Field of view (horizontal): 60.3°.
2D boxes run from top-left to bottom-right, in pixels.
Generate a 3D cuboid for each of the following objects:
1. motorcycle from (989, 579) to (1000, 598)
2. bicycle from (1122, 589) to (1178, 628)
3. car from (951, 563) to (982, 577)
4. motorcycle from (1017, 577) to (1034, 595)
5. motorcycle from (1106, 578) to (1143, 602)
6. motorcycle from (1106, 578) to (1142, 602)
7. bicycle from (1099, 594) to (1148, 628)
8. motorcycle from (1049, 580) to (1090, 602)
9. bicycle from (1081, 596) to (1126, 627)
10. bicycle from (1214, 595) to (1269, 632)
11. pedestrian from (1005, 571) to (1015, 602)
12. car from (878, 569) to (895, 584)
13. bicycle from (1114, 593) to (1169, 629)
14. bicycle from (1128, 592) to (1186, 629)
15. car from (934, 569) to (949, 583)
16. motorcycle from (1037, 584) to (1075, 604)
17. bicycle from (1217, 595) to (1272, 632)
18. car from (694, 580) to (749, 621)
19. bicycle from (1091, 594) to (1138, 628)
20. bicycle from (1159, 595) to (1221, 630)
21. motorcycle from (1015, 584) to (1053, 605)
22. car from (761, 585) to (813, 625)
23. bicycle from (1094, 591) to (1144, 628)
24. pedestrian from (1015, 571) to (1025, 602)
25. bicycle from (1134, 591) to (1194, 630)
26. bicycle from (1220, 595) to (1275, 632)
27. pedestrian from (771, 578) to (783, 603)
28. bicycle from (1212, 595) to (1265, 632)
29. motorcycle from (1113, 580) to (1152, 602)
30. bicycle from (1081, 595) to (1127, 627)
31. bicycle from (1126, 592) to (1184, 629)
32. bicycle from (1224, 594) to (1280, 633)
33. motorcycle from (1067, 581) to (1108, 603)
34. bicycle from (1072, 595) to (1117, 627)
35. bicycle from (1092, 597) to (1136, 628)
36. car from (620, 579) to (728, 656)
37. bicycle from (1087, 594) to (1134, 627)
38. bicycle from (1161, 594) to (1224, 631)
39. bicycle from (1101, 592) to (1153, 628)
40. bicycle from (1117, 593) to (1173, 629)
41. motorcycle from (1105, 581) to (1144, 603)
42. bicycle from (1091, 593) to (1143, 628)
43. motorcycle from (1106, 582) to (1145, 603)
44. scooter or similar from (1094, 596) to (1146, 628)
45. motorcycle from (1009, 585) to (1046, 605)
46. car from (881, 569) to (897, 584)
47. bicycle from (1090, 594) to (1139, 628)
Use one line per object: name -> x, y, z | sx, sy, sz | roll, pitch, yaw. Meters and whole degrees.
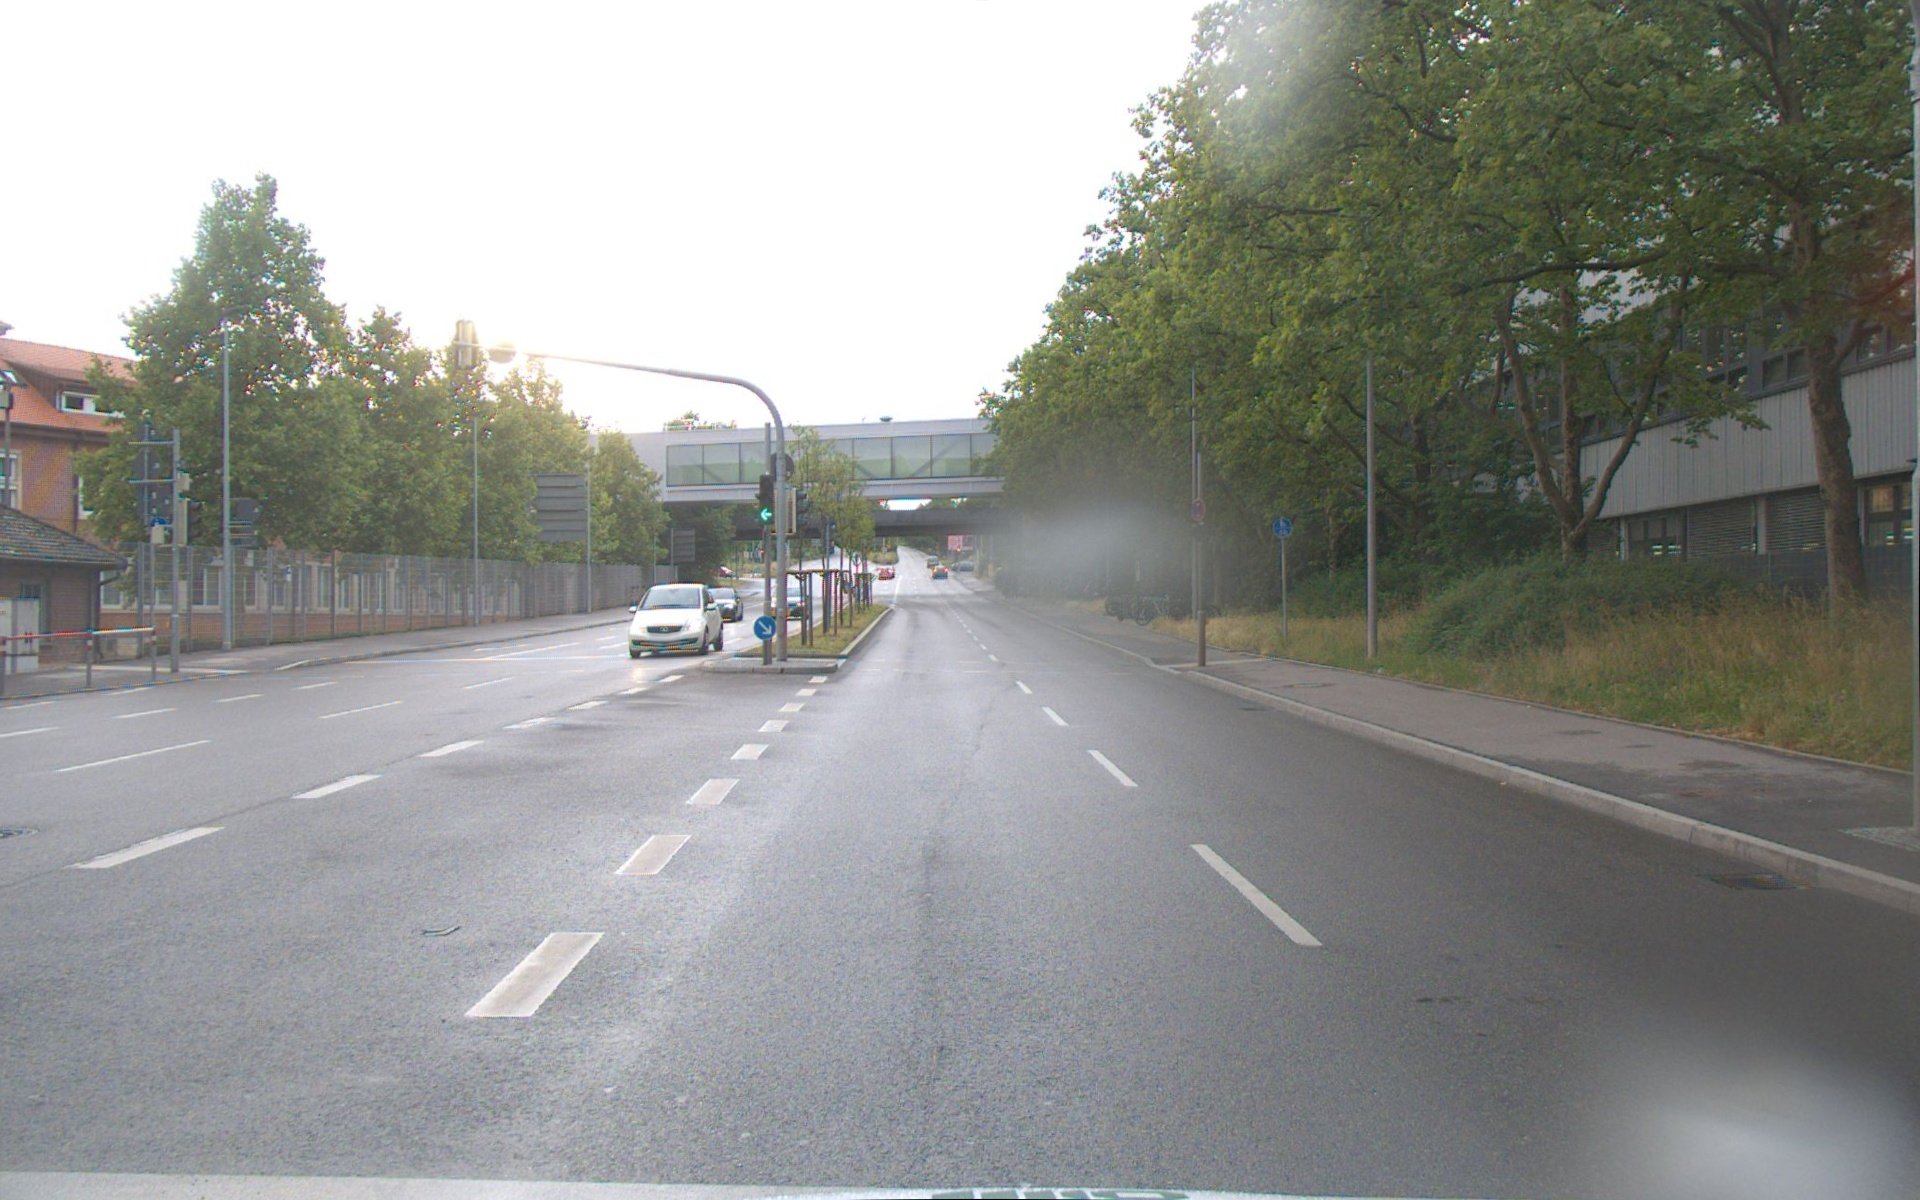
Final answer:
motorcycle -> 2.989, -1.006, 144.579 | 0.774, 1.560, 2.375 | -1, 0, -2
bicycle -> 6.913, 0.324, 60.254 | 1.949, 1.364, 0.541 | 2, -1, 0
car -> 0.901, -4.325, 236.466 | 4.419, 1.792, 1.904 | 2, -1, -2
motorcycle -> 4.849, -1.034, 121.866 | 0.775, 1.334, 2.371 | -1, 0, -9
motorcycle -> 10.675, -0.655, 107.208 | 2.318, 1.502, 0.723 | -1, 0, 7
motorcycle -> 10.761, -0.681, 108.444 | 2.318, 1.502, 0.723 | -1, 0, 7
bicycle -> 6.780, 0.450, 68.511 | 1.949, 1.352, 0.576 | 2, -1, 0
motorcycle -> 6.310, -0.504, 95.425 | 2.318, 1.223, 0.723 | -1, 0, 7
bicycle -> 6.463, 0.518, 74.463 | 1.923, 1.352, 0.654 | 2, -1, 0
bicycle -> 10.789, 0.525, 63.414 | 1.949, 1.352, 0.576 | 2, -1, 0
pedestrian -> 3.309, -0.876, 109.622 | 0.609, 2.049, 0.605 | -1, 0, -1
car -> -9.131, -2.925, 206.619 | 1.953, 1.792, 3.999 | 2, -1, -1
bicycle -> 6.789, 0.409, 61.891 | 1.949, 1.263, 0.541 | 2, -1, 0
bicycle -> 6.928, 0.369, 58.176 | 1.949, 1.255, 0.541 | 2, -1, 0
car -> -2.266, -2.895, 202.894 | 1.837, 1.523, 4.067 | 2, -1, -1
motorcycle -> 5.902, -0.370, 101.632 | 2.318, 1.223, 0.723 | -1, 0, 7
bicycle -> 10.785, 0.516, 62.766 | 1.949, 1.352, 0.576 | 2, -1, 0
car -> -10.261, 0.006, 71.270 | 1.839, 1.653, 3.778 | -1, 0, -1
bicycle -> 6.568, 0.469, 70.456 | 1.920, 1.352, 0.576 | 2, -1, 0
bicycle -> 7.586, 0.413, 54.537 | 1.949, 1.114, 0.541 | 2, -1, 0
motorcycle -> 4.688, -0.343, 104.092 | 2.318, 1.223, 0.723 | -1, 0, 7
car -> -7.429, 0.186, 71.359 | 1.839, 1.653, 3.778 | -1, 0, -1
bicycle -> 6.499, 0.378, 67.653 | 1.949, 1.455, 0.723 | 2, -1, 0
pedestrian -> 3.973, -0.916, 109.555 | 0.609, 2.049, 0.605 | -1, 0, -1
bicycle -> 6.896, 0.348, 55.986 | 1.949, 1.237, 0.541 | 2, -1, 0
bicycle -> 10.794, 0.508, 62.101 | 1.949, 1.352, 0.576 | 2, -1, 0
pedestrian -> -14.756, -0.757, 133.605 | 0.855, 2.039, 0.854 | -1, 0, -4
bicycle -> 10.790, 0.533, 64.083 | 1.949, 1.352, 0.576 | 2, -1, 0
motorcycle -> 10.322, -0.533, 99.061 | 2.318, 1.223, 0.723 | -1, 0, 7
bicycle -> 6.332, 0.491, 72.744 | 1.923, 1.352, 0.654 | 2, -1, 0
bicycle -> 6.933, 0.373, 58.836 | 1.949, 1.263, 0.541 | 2, -1, 0
bicycle -> 10.824, 0.499, 61.338 | 1.949, 1.352, 0.576 | 2, -1, 0
motorcycle -> 7.473, -0.486, 96.918 | 2.318, 1.223, 0.723 | -1, 0, 7
bicycle -> 5.995, 0.492, 73.652 | 1.923, 1.352, 0.654 | 2, -1, 0
bicycle -> 7.090, 0.558, 75.976 | 1.923, 1.352, 0.654 | 2, -1, 0
car -> -6.522, 0.371, 38.105 | 1.839, 1.653, 3.778 | -1, 0, -1
bicycle -> 6.473, 0.475, 71.144 | 1.923, 1.352, 0.654 | 2, -1, 0
bicycle -> 7.593, 0.406, 53.969 | 1.949, 1.114, 0.541 | 2, -1, 0
bicycle -> 6.586, 0.413, 65.168 | 1.949, 1.352, 0.576 | 2, -1, 0
bicycle -> 6.807, 0.397, 60.943 | 1.949, 1.263, 0.541 | 2, -1, 0
motorcycle -> 10.004, -0.490, 100.322 | 2.318, 1.223, 0.723 | -1, 0, 7
bicycle -> 6.257, 0.413, 65.972 | 1.949, 1.352, 0.576 | 2, -1, 0
motorcycle -> 10.146, -0.484, 101.210 | 2.318, 1.223, 0.723 | -1, 0, 7
scooter or similar -> 6.187, 0.455, 64.018 | 1.949, 1.157, 0.541 | 2, -1, 0
motorcycle -> 4.356, -0.326, 106.644 | 2.318, 1.223, 0.723 | -1, 0, 7
car -> -9.117, -3.005, 211.559 | 1.846, 1.792, 3.968 | 2, -1, -1
bicycle -> 6.449, 0.461, 69.217 | 1.949, 1.352, 0.576 | 2, -1, 0
